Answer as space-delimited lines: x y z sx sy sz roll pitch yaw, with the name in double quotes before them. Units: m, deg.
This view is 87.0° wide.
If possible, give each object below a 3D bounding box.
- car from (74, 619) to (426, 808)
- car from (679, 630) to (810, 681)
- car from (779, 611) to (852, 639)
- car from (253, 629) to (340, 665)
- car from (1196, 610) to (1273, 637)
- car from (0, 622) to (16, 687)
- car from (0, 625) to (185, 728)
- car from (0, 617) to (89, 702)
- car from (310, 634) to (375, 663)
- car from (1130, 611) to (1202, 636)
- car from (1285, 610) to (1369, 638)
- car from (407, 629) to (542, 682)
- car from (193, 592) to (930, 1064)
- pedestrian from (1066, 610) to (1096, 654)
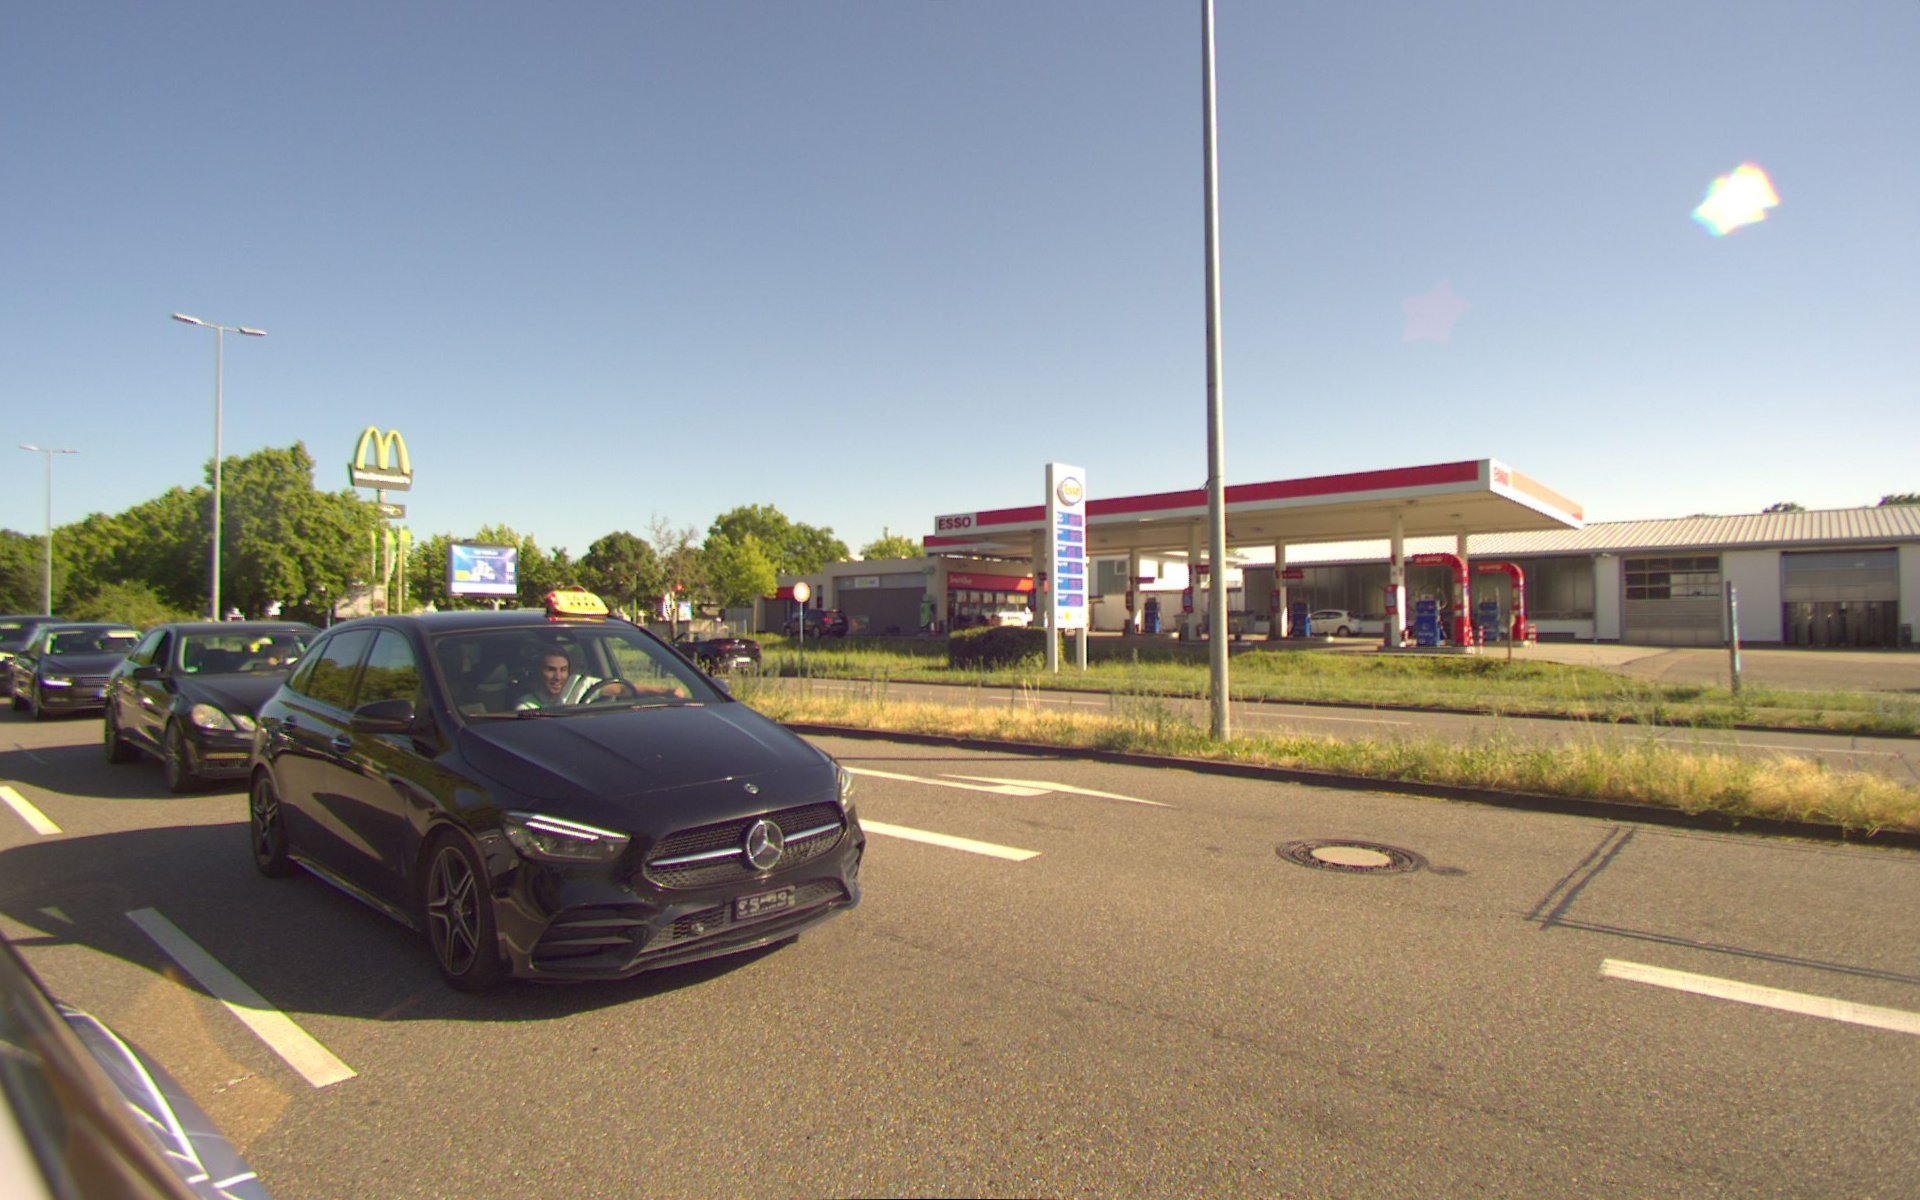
"car" -7.250 0.937 10.154 4.400 1.449 1.845 -1 0 40
"car" -6.503 1.645 30.388 3.975 1.420 1.741 -1 -4 40
"car" -7.878 1.345 54.912 3.975 1.420 1.661 -1 -4 40
"car" -30.163 2.120 45.983 4.872 1.502 1.742 -1 -4 38
"car" 15.845 1.362 58.575 3.975 1.420 1.661 -1 -4 40
"car" -25.213 1.377 25.533 3.774 1.567 1.615 -1 -1 40
"car" -14.441 1.161 16.686 4.284 1.438 1.775 -1 0 40
"car" -19.928 1.210 21.436 3.876 1.629 1.653 -2 -1 40
"car" -32.549 2.558 53.325 3.975 1.420 1.741 -1 -4 40
"car" 12.448 1.406 61.374 3.975 1.420 1.661 -1 -4 40
"car" 19.848 1.311 54.833 3.975 1.420 1.661 -1 -4 40
"car" -14.493 1.634 30.167 4.295 1.420 1.713 -1 -3 35
"car" -2.372 0.743 5.327 4.400 1.502 1.741 -1 0 40
"pedestrian" 4.992 1.295 41.720 0.903 1.763 0.780 -1 0 41
